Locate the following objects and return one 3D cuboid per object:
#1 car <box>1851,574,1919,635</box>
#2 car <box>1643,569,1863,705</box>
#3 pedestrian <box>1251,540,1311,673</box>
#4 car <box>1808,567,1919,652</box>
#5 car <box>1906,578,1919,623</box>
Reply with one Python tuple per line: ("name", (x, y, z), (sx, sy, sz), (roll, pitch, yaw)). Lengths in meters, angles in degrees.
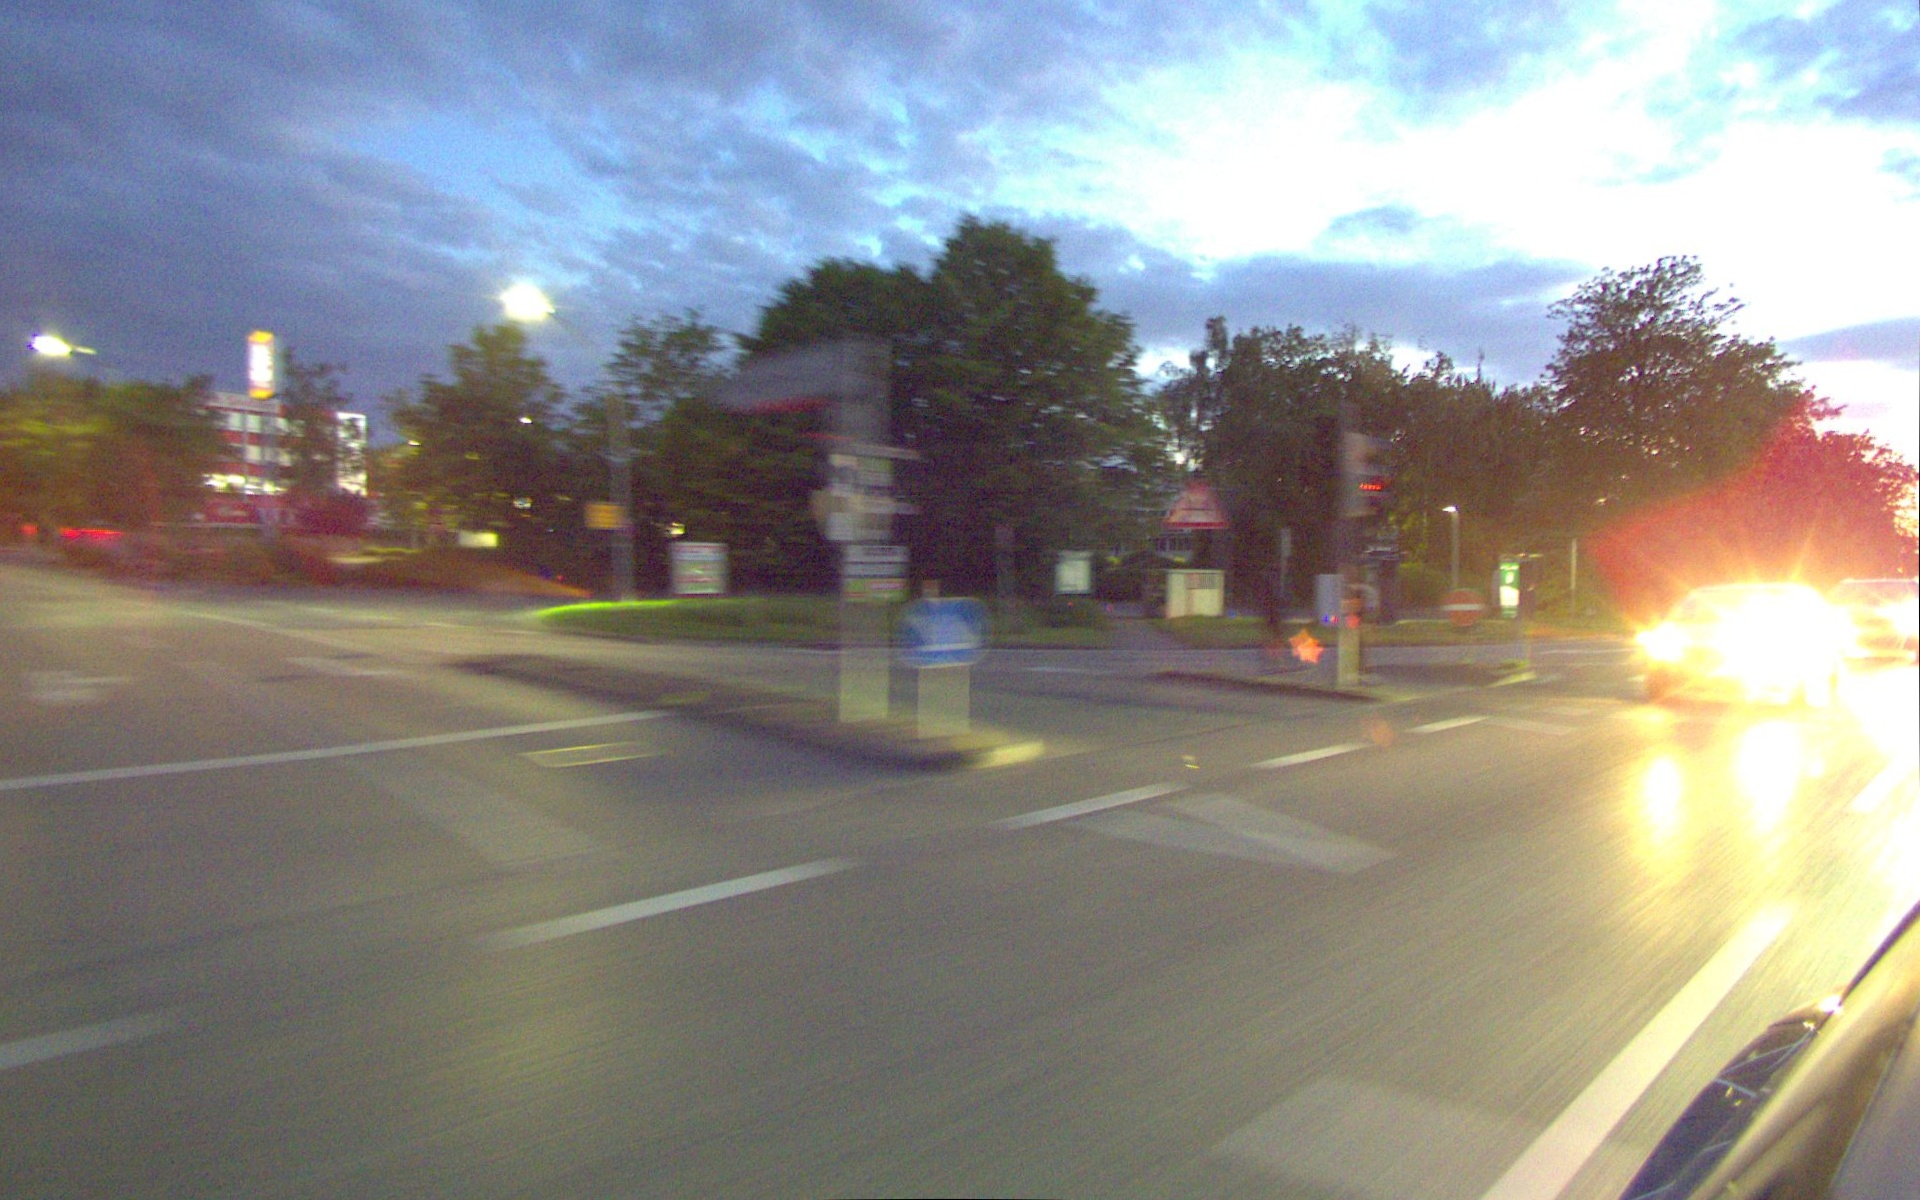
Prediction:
("car", (23.796, 0.098, 25.469), (3.690, 1.431, 1.620), (0, 1, -41))
("car", (10.567, 0.415, 13.403), (3.650, 1.556, 1.662), (0, 0, -41))
("pedestrian", (5.029, 0.098, 15.893), (0.768, 2.039, 0.712), (-1, 0, 10))
("car", (19.060, 0.184, 20.758), (4.226, 1.577, 1.900), (0, -1, -41))
("car", (32.250, -0.022, 32.922), (3.932, 1.385, 1.816), (-2, 1, -42))
